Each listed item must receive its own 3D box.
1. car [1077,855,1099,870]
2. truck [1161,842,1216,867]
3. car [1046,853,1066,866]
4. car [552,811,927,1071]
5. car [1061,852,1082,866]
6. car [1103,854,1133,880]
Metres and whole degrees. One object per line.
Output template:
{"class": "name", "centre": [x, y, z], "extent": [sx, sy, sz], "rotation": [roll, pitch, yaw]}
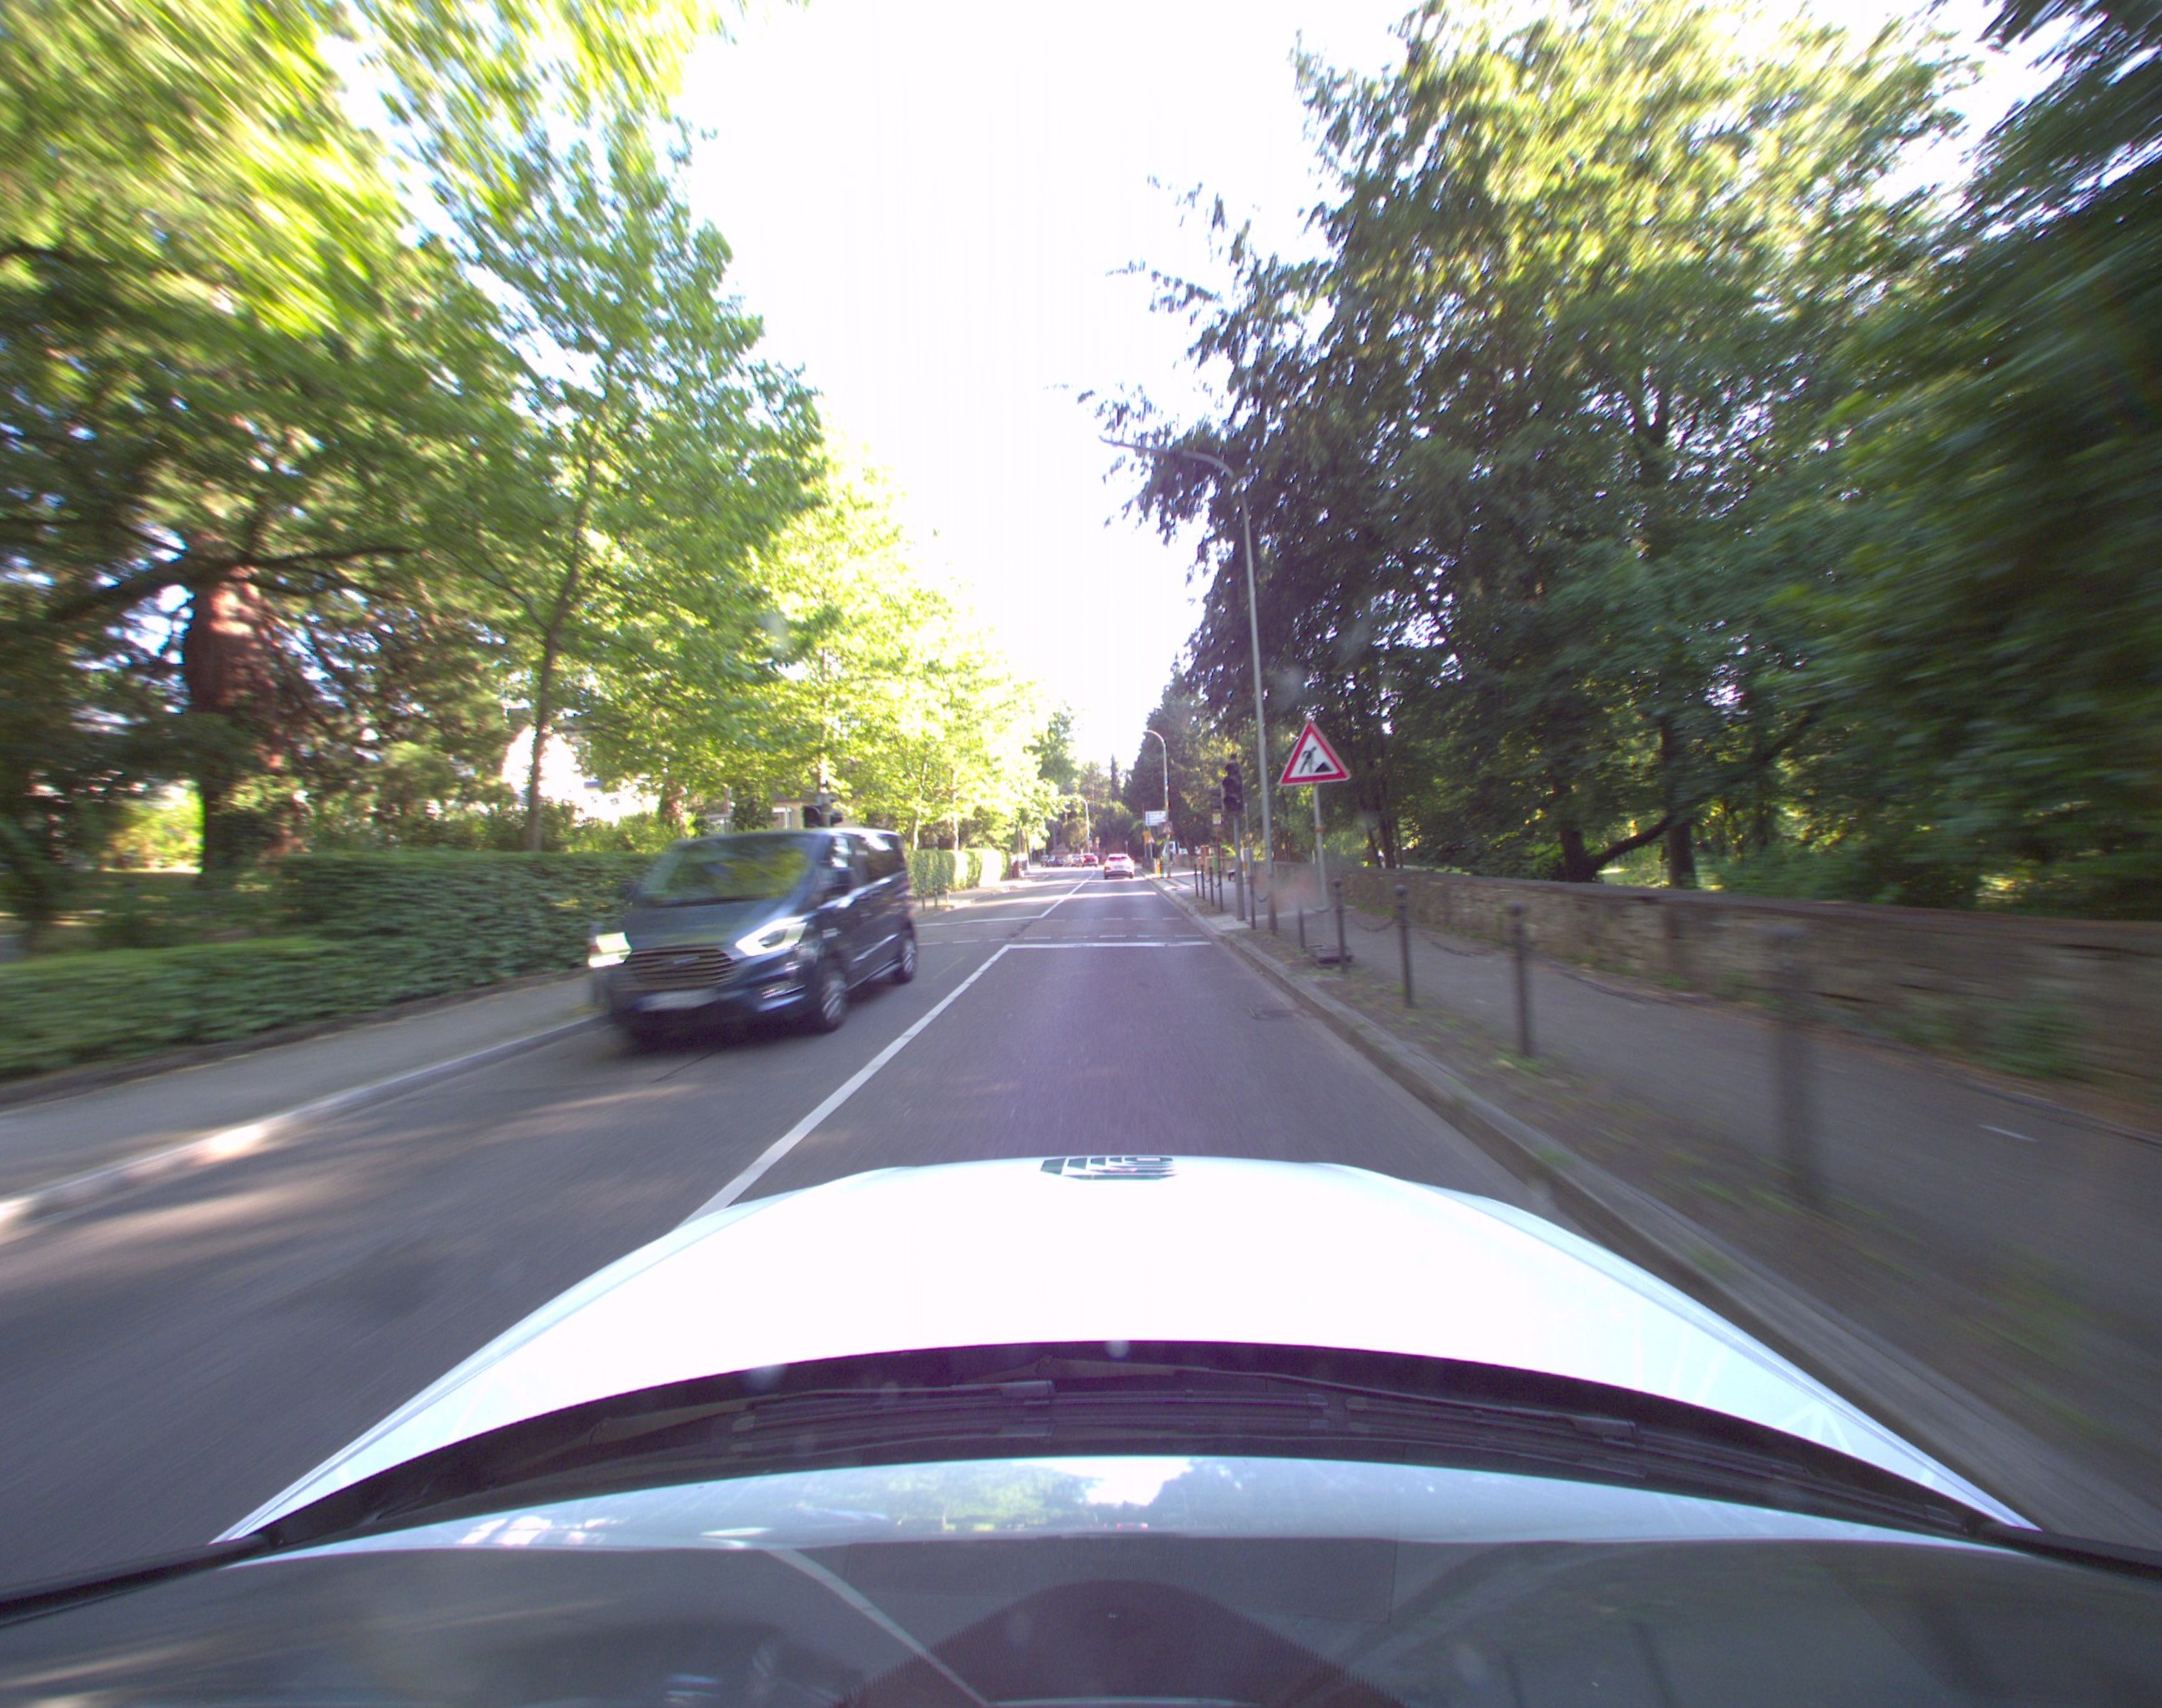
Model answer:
{"class": "car", "centre": [0.750, 0.943, 93.342], "extent": [1.831, 1.662, 3.987], "rotation": [-1, 0, -9]}
{"class": "truck", "centre": [12.943, 0.024, 98.201], "extent": [6.552, 2.895, 2.438], "rotation": [-1, 0, 7]}
{"class": "car", "centre": [-3.307, 0.656, 107.103], "extent": [1.835, 1.662, 3.979], "rotation": [1, 0, -15]}
{"class": "car", "centre": [-3.227, 0.703, 9.022], "extent": [1.987, 1.968, 4.777], "rotation": [-4, 0, 0]}
{"class": "car", "centre": [-1.223, 0.613, 101.129], "extent": [1.832, 1.741, 3.985], "rotation": [-1, 0, -11]}
{"class": "car", "centre": [2.313, 0.815, 51.527], "extent": [1.813, 1.574, 4.002], "rotation": [1, 0, 2]}
